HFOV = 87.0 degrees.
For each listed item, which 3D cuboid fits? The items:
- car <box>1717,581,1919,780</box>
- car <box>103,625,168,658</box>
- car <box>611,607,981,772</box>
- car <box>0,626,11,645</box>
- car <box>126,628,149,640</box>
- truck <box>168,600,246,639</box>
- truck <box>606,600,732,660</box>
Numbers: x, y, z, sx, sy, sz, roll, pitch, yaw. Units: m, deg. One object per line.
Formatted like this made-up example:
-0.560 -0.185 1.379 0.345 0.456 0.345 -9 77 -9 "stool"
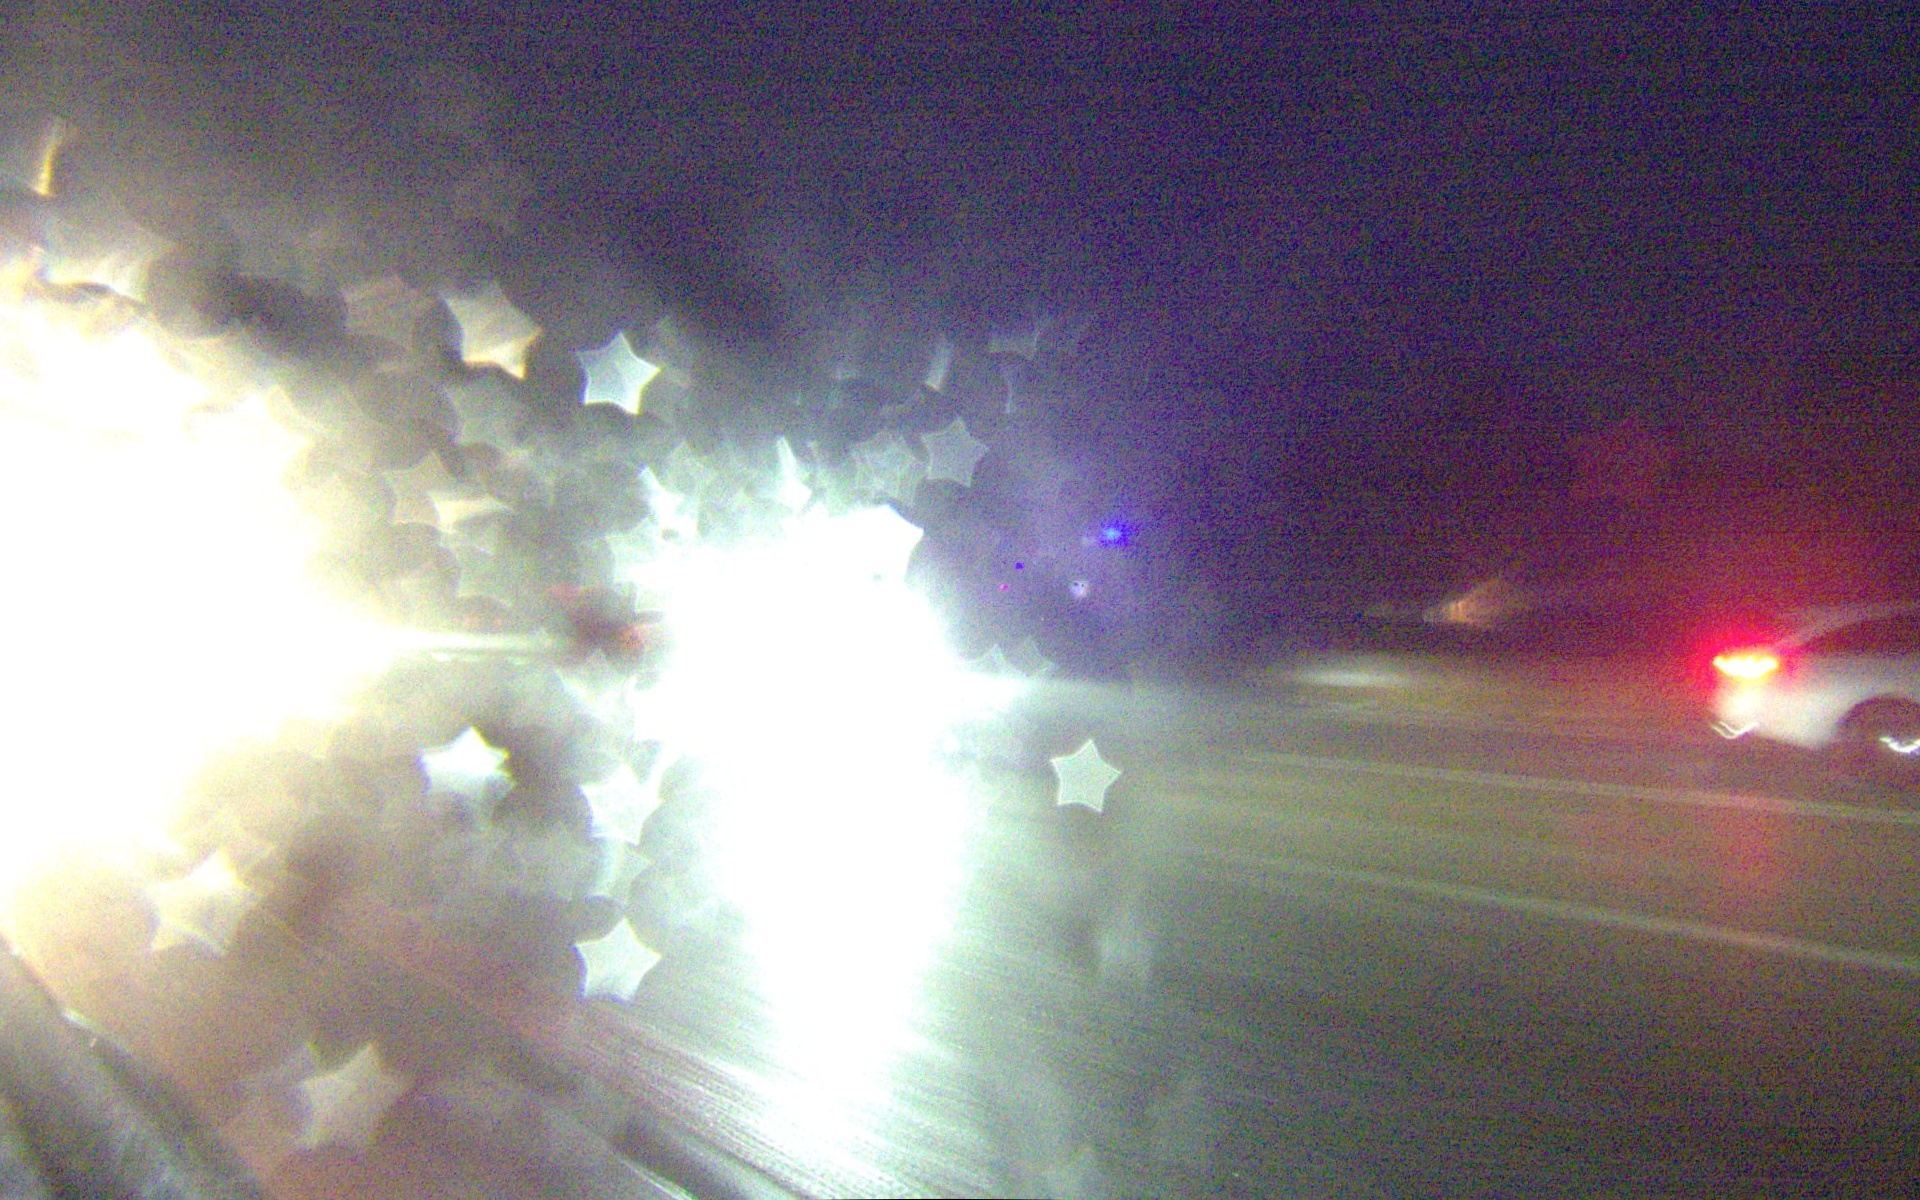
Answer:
8.837 0.577 7.408 5.162 1.487 1.973 -1 0 41 "car"
-43.547 2.166 53.421 4.587 1.572 1.972 -1 0 42 "car"
-1.924 0.831 11.194 3.999 1.452 1.972 -1 0 42 "car"
-94.722 3.495 99.310 4.000 1.821 1.972 -1 0 43 "car"
-118.393 4.855 145.682 4.458 1.569 1.860 -1 0 41 "car"
-80.941 2.023 108.557 17.176 3.917 3.462 -1 0 42 "truck"
-12.448 1.225 43.031 6.436 2.365 1.973 -1 0 41 "truck"
